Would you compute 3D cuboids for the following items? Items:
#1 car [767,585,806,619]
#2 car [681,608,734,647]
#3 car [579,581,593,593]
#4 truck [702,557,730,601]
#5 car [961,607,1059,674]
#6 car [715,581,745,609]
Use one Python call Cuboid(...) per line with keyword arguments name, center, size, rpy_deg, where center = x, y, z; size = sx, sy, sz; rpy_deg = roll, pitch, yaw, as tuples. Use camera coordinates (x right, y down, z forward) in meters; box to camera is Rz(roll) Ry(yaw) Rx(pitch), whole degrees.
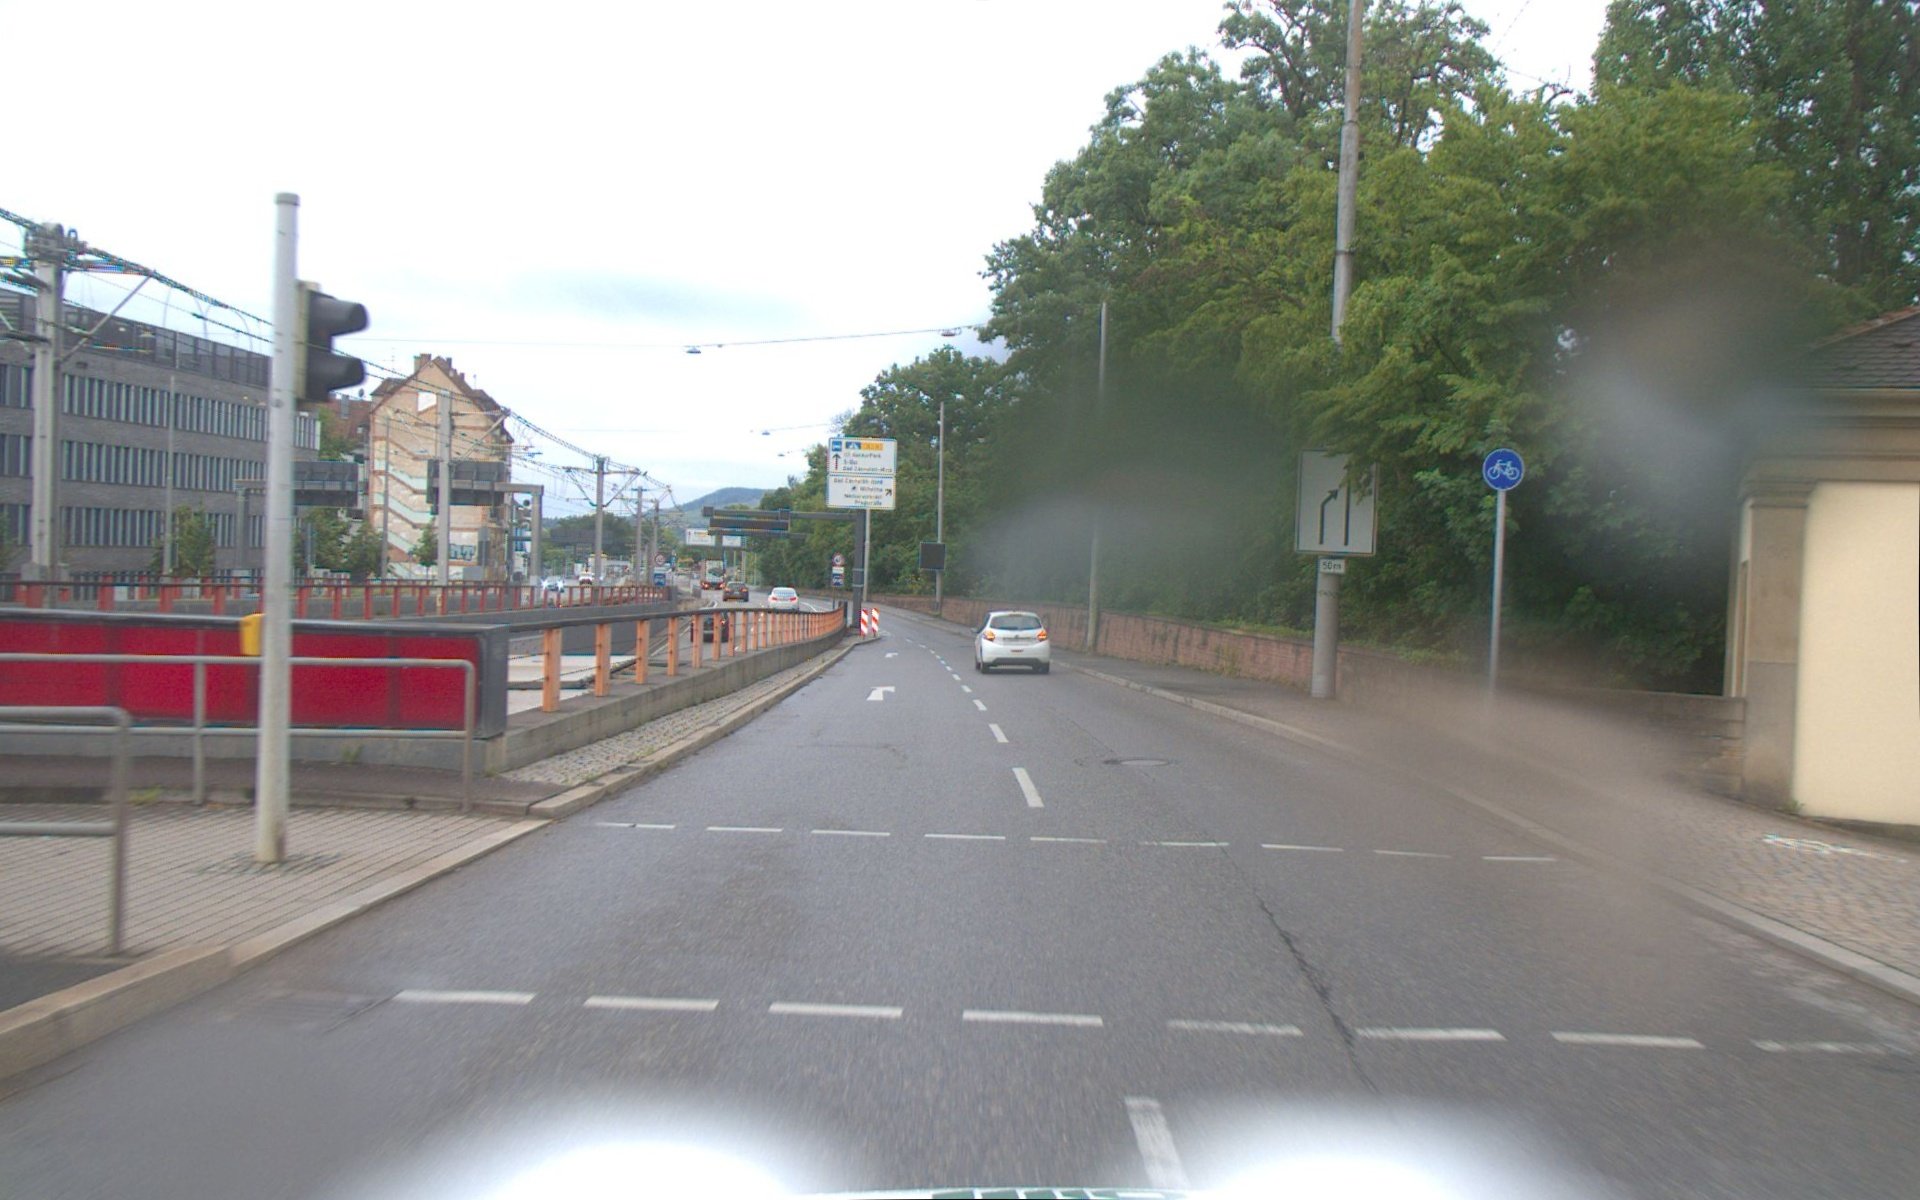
Cuboid(name="car", center=(-10.353, 0.100, 98.433), size=(2.043, 1.905, 4.087), rpy_deg=(0, 1, -10))
Cuboid(name="car", center=(-11.539, 1.229, 75.858), size=(1.953, 1.603, 3.999), rpy_deg=(1, 1, -2))
Cuboid(name="car", center=(-56.191, -1.955, 248.439), size=(1.791, 1.612, 3.826), rpy_deg=(2, 3, -8))
Cuboid(name="truck", center=(-33.697, -2.816, 228.052), size=(3.401, 5.495, 12.025), rpy_deg=(2, -1, -9))
Cuboid(name="car", center=(1.181, 0.988, 40.742), size=(1.917, 1.514, 3.995), rpy_deg=(2, -1, -5))
Cuboid(name="car", center=(-16.451, -0.364, 118.290), size=(1.958, 1.905, 3.990), rpy_deg=(0, 1, -11))
